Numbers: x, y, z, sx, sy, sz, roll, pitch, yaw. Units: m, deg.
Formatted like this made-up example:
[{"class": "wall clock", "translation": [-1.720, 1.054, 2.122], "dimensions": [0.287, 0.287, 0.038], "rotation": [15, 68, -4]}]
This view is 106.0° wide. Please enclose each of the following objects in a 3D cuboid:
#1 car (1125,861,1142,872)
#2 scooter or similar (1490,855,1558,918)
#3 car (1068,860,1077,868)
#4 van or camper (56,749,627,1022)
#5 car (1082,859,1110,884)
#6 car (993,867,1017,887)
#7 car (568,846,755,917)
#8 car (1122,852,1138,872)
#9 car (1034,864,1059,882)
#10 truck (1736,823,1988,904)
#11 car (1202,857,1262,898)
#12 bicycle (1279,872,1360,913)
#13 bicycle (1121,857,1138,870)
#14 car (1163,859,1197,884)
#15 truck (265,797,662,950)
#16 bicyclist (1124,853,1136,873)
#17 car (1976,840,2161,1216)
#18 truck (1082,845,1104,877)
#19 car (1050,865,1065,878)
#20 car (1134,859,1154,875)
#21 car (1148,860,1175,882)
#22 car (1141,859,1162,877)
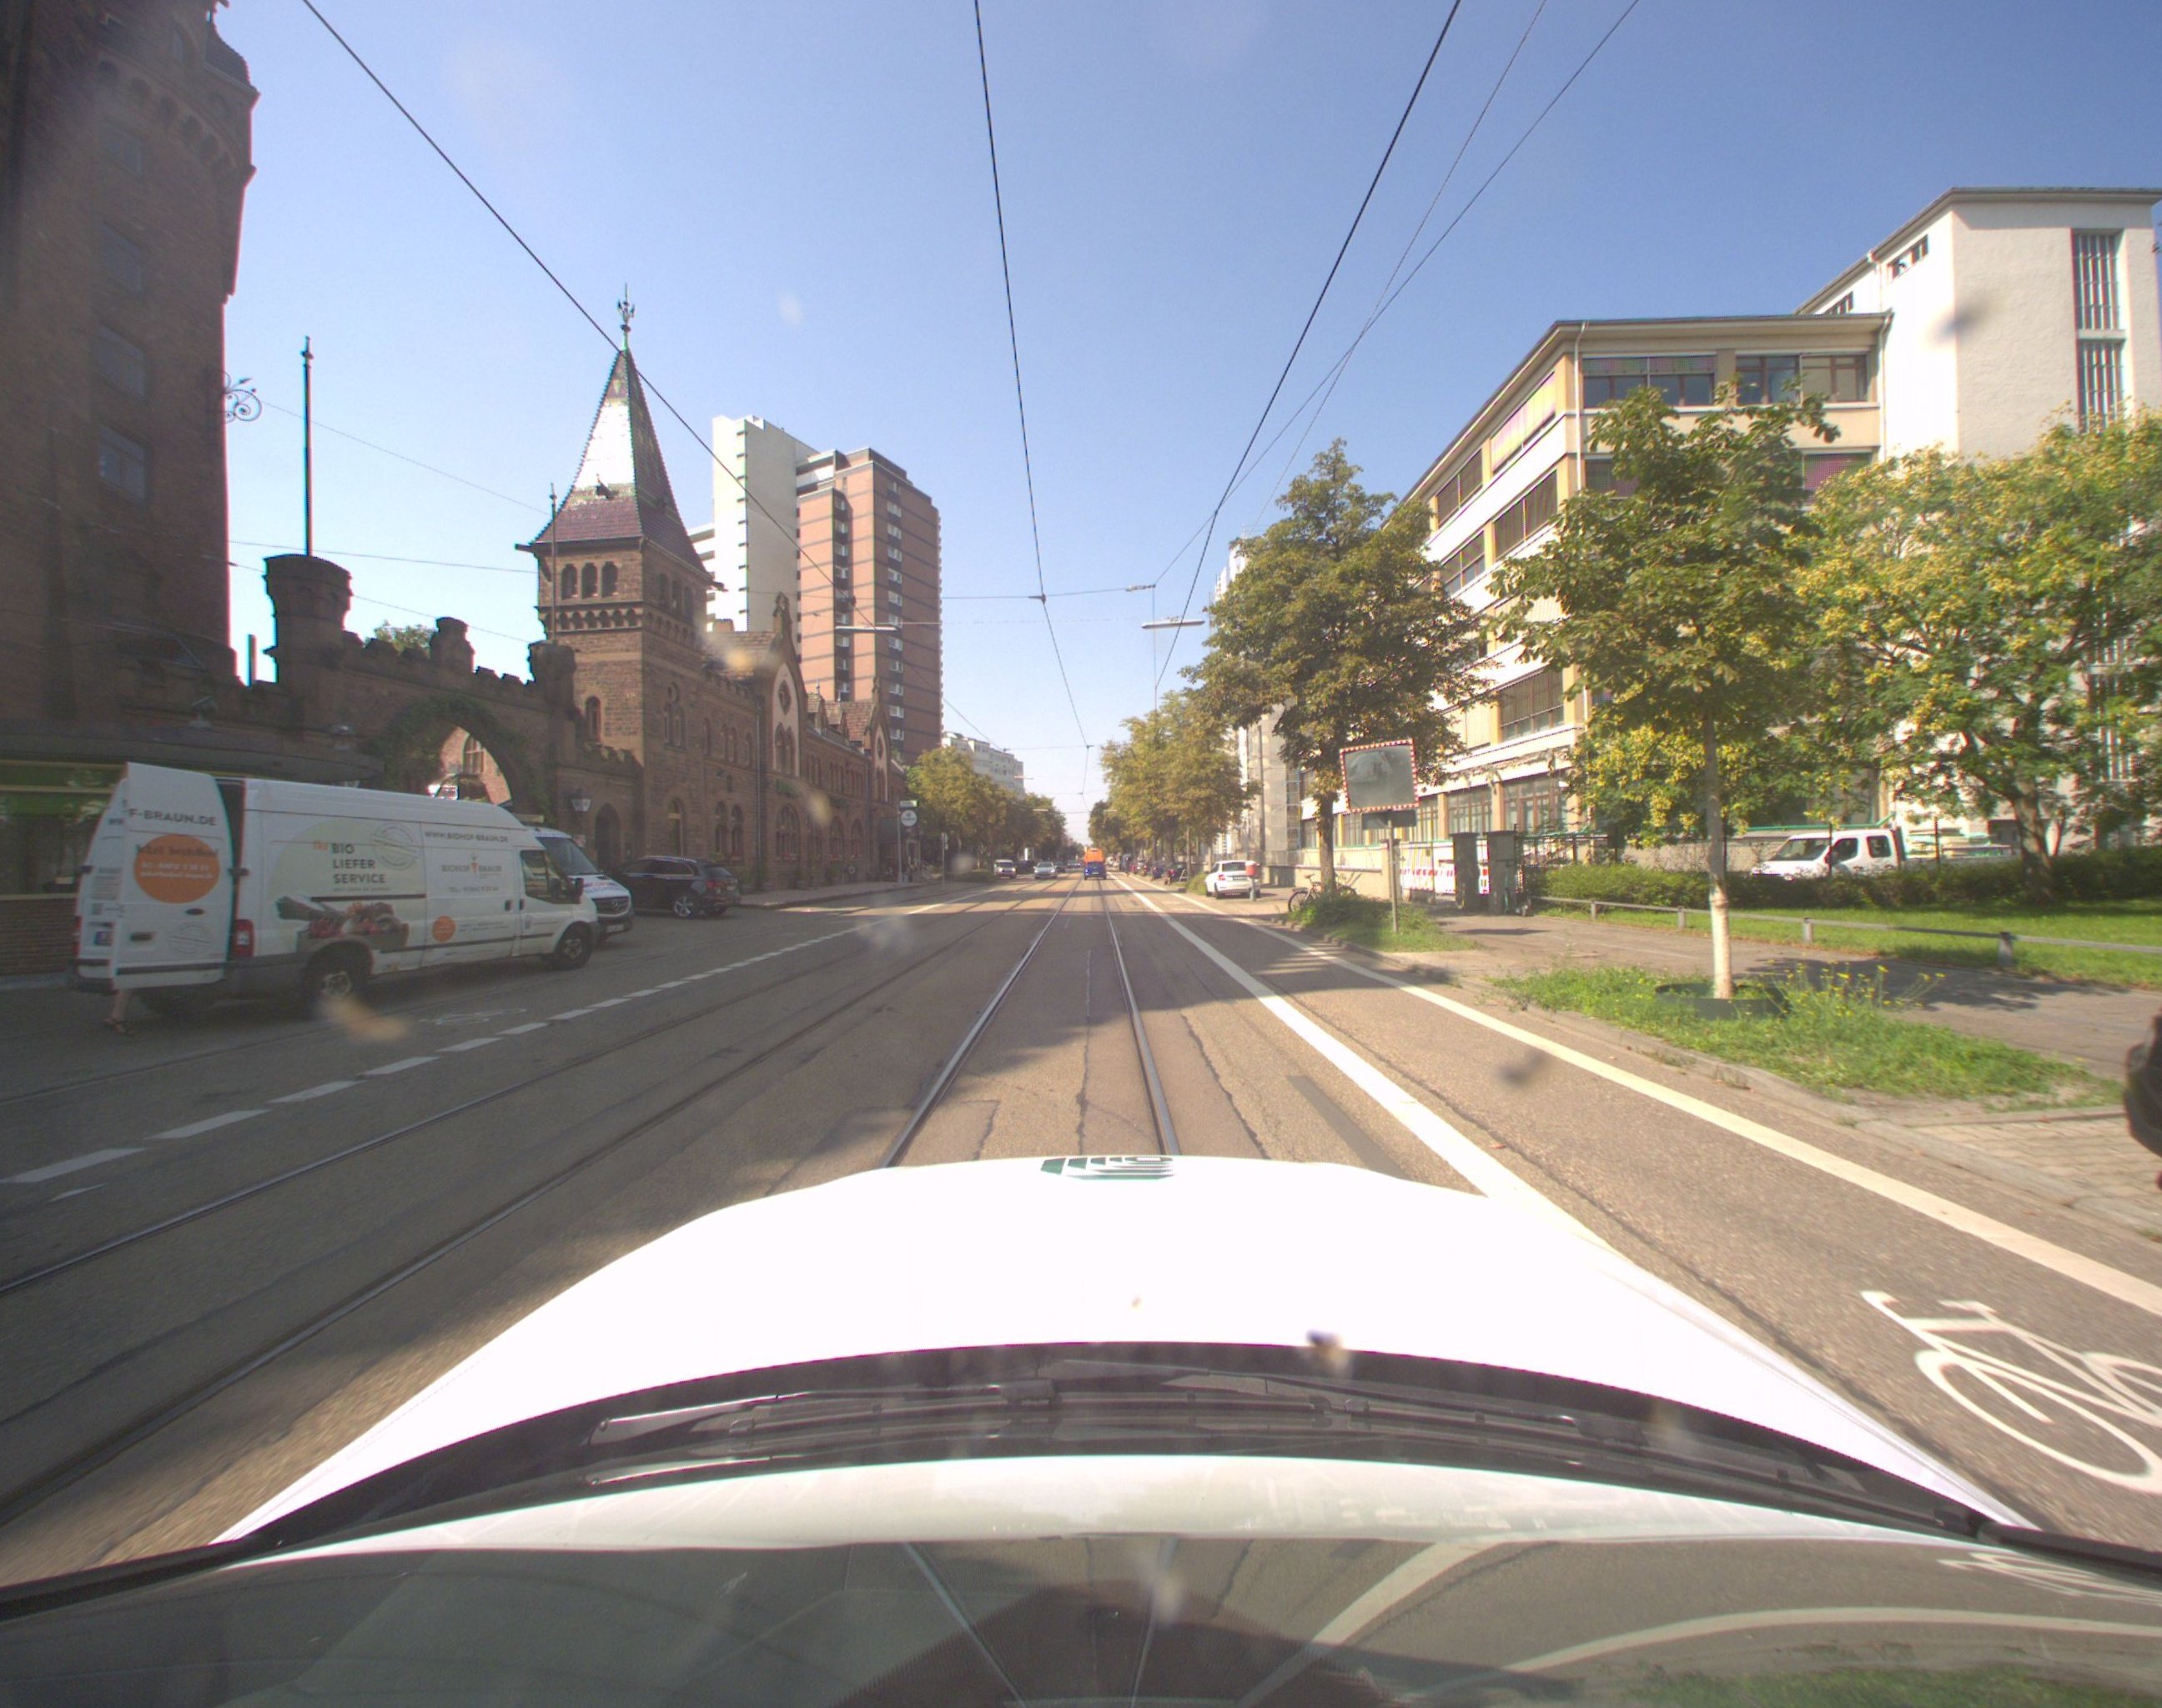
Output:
[{"class": "car", "translation": [6.840, 1.651, 106.177], "dimensions": [1.902, 1.431, 4.291], "rotation": [-1, 0, 0]}, {"class": "scooter or similar", "translation": [9.445, 0.664, 17.441], "dimensions": [0.554, 1.259, 1.819], "rotation": [-1, -1, 3]}, {"class": "car", "translation": [-1.810, 2.106, 173.015], "dimensions": [1.774, 1.684, 4.346], "rotation": [0, -1, 0]}, {"class": "van or camper", "translation": [-8.980, 0.333, 11.030], "dimensions": [2.104, 2.675, 5.958], "rotation": [-1, 0, 2]}, {"class": "car", "translation": [1.231, 1.401, 66.252], "dimensions": [2.128, 1.858, 5.569], "rotation": [-2, -1, 1]}, {"class": "car", "translation": [-7.449, 2.227, 79.380], "dimensions": [1.750, 1.796, 3.980], "rotation": [0, -1, -14]}, {"class": "car", "translation": [-11.665, 0.737, 22.867], "dimensions": [4.120, 1.744, 2.001], "rotation": [2, 0, 1]}, {"class": "car", "translation": [7.013, 1.129, 116.777], "dimensions": [1.987, 2.756, 5.760], "rotation": [-1, 0, 0]}, {"class": "car", "translation": [-3.029, 1.675, 72.514], "dimensions": [1.840, 1.492, 4.868], "rotation": [-2, 0, 2]}, {"class": "truck", "translation": [23.900, 0.290, 25.136], "dimensions": [5.485, 2.326, 2.300], "rotation": [-1, -1, 2]}, {"class": "car", "translation": [5.963, 0.905, 32.536], "dimensions": [1.653, 1.481, 4.218], "rotation": [-2, -1, 1]}, {"class": "bicycle", "translation": [5.782, 0.928, 19.776], "dimensions": [1.806, 0.958, 0.558], "rotation": [-1, -1, 0]}, {"class": "bicycle", "translation": [4.439, 0.885, 74.991], "dimensions": [1.397, 1.134, 4.000], "rotation": [-1, -1, 1]}, {"class": "car", "translation": [6.131, 1.074, 50.917], "dimensions": [1.653, 1.408, 4.218], "rotation": [-2, -1, 1]}, {"class": "truck", "translation": [-11.867, 0.307, 15.895], "dimensions": [6.289, 2.538, 2.134], "rotation": [2, 1, 5]}, {"class": "bicyclist", "translation": [4.475, 0.853, 74.963], "dimensions": [1.028, 1.812, 1.016], "rotation": [-1, -1, 0]}, {"class": "car", "translation": [5.255, 0.671, 1.657], "dimensions": [1.750, 1.515, 4.608], "rotation": [-2, -1, 0]}, {"class": "truck", "translation": [1.288, 0.755, 85.130], "dimensions": [2.128, 3.124, 6.085], "rotation": [-2, -1, 1]}, {"class": "car", "translation": [-2.999, 2.273, 103.884], "dimensions": [1.675, 1.571, 4.207], "rotation": [-1, 0, 1]}, {"class": "car", "translation": [6.604, 1.324, 85.659], "dimensions": [1.735, 1.668, 4.361], "rotation": [-1, 0, 0]}, {"class": "car", "translation": [6.154, 1.278, 62.466], "dimensions": [1.736, 1.556, 4.218], "rotation": [-2, -1, 1]}, {"class": "car", "translation": [6.510, 1.293, 75.564], "dimensions": [1.628, 1.585, 4.187], "rotation": [-1, 0, 0]}]
